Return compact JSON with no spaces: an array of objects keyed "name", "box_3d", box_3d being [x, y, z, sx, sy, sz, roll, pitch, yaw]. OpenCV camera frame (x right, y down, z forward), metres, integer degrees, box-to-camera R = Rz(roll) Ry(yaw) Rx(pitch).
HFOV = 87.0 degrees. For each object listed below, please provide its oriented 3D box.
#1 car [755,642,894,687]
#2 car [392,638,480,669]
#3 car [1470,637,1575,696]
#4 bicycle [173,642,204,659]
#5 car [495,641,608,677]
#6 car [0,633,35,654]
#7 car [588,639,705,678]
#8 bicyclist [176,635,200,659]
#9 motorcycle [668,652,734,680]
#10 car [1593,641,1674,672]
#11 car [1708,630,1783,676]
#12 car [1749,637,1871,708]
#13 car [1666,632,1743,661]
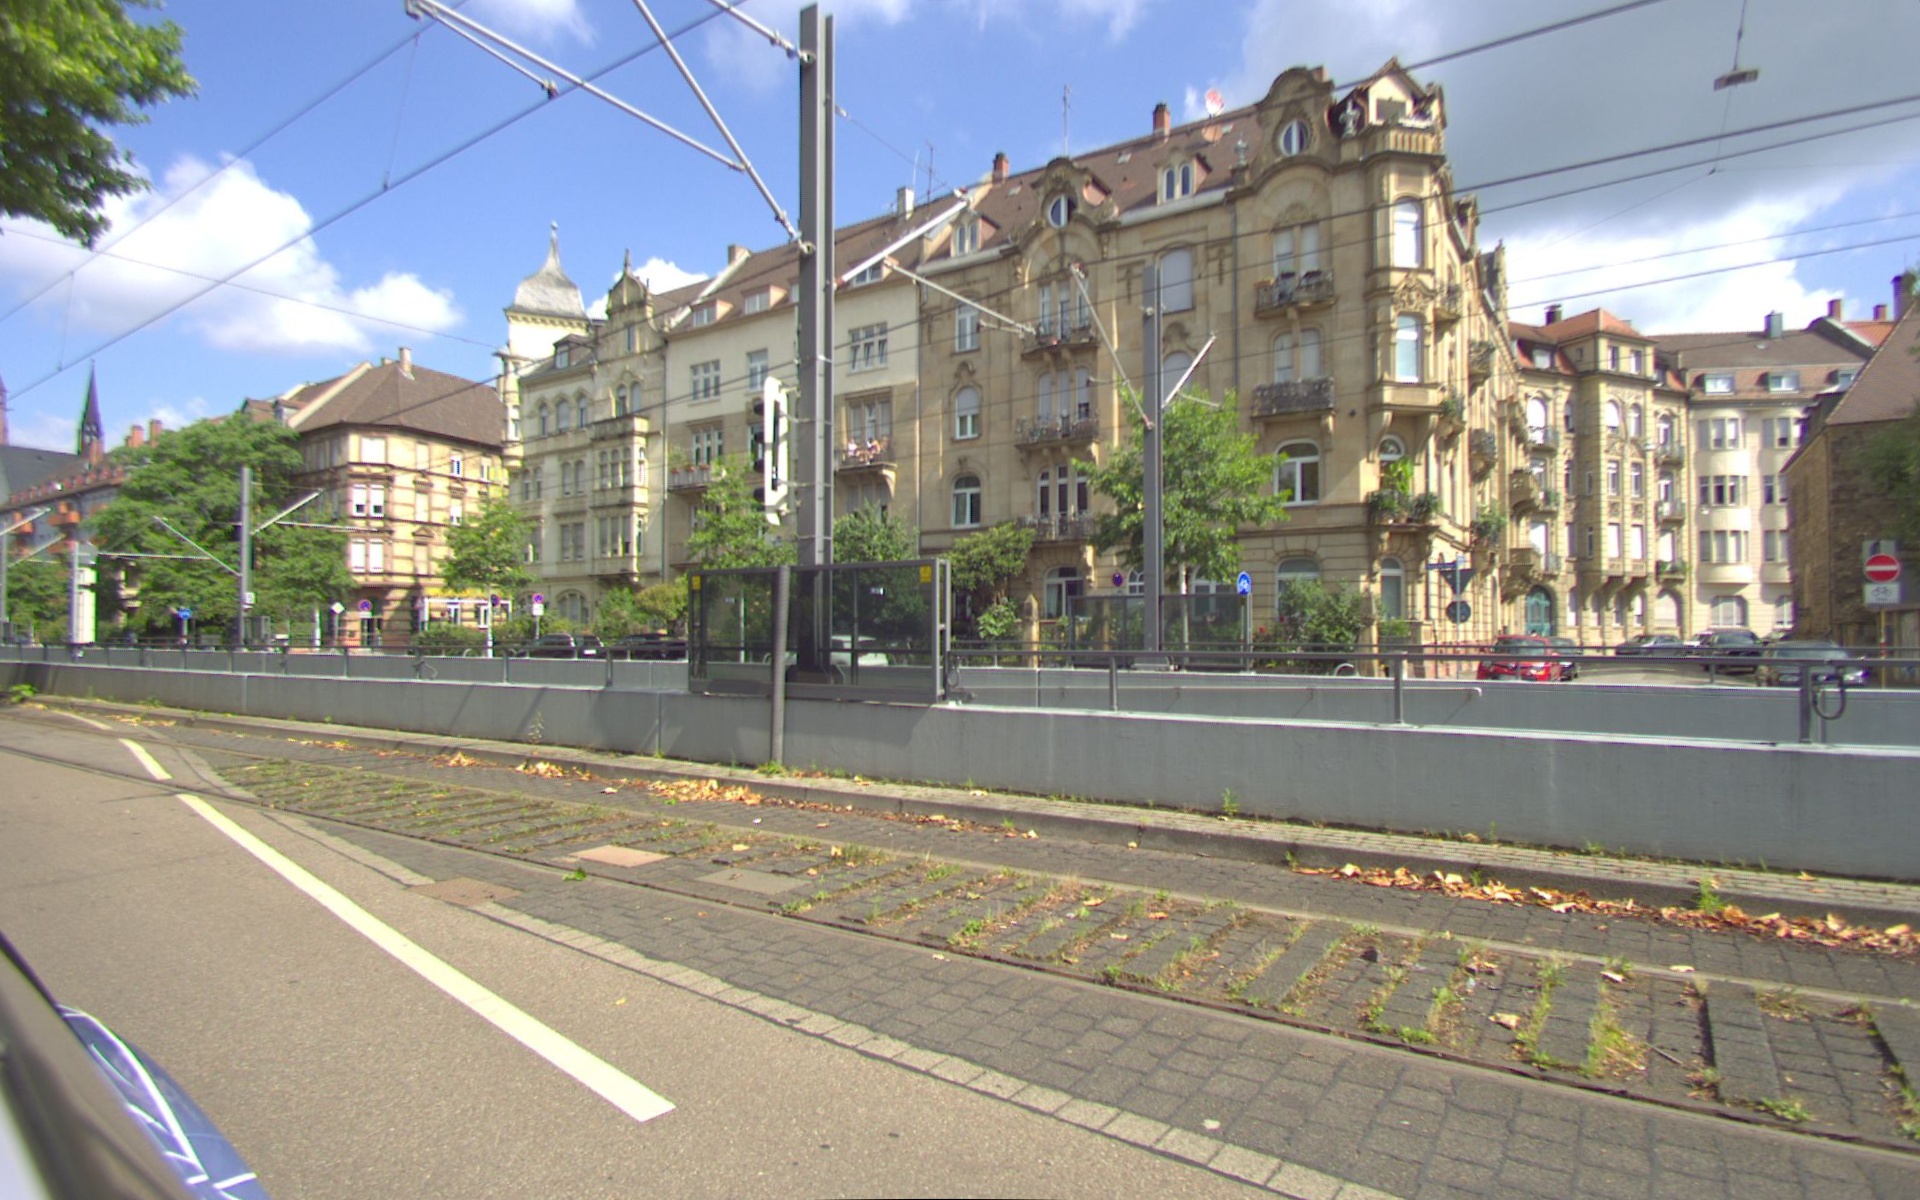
[{"name":"car","box_3d":[-4.335,2.014,32.191,4.299,1.338,1.738,-2,-3,33]},{"name":"car","box_3d":[-29.077,2.943,56.281,2.025,1.618,3.928,-1,-2,25]},{"name":"car","box_3d":[15.104,1.724,27.088,1.930,1.475,3.745,-2,-3,37]},{"name":"bicycle","box_3d":[-44.023,2.883,57.754,2.136,0.986,0.769,-2,-5,35]},{"name":"car","box_3d":[-16.275,2.332,40.249,4.715,1.337,1.932,-2,-3,35]},{"name":"car","box_3d":[-77.870,3.568,83.082,4.103,1.650,1.977,-2,-3,34]},{"name":"car","box_3d":[-11.571,2.135,37.295,4.087,1.337,2.004,-2,-3,33]},{"name":"bicyclist","box_3d":[-44.041,2.690,57.745,1.046,1.348,0.761,-2,-5,35]},{"name":"motorcycle","box_3d":[-9.094,2.330,35.527,1.414,0.949,1.746,-2,-4,33]},{"name":"car","box_3d":[37.886,3.167,56.929,3.727,1.683,1.939,1,-3,-21]},{"name":"car","box_3d":[30.488,2.029,39.382,1.927,1.683,3.750,-2,-3,33]},{"name":"car","box_3d":[19.443,1.612,23.306,1.719,1.475,3.928,-2,-3,34]},{"name":"car","box_3d":[44.252,2.755,60.147,3.727,1.683,1.939,1,-3,-21]}]
